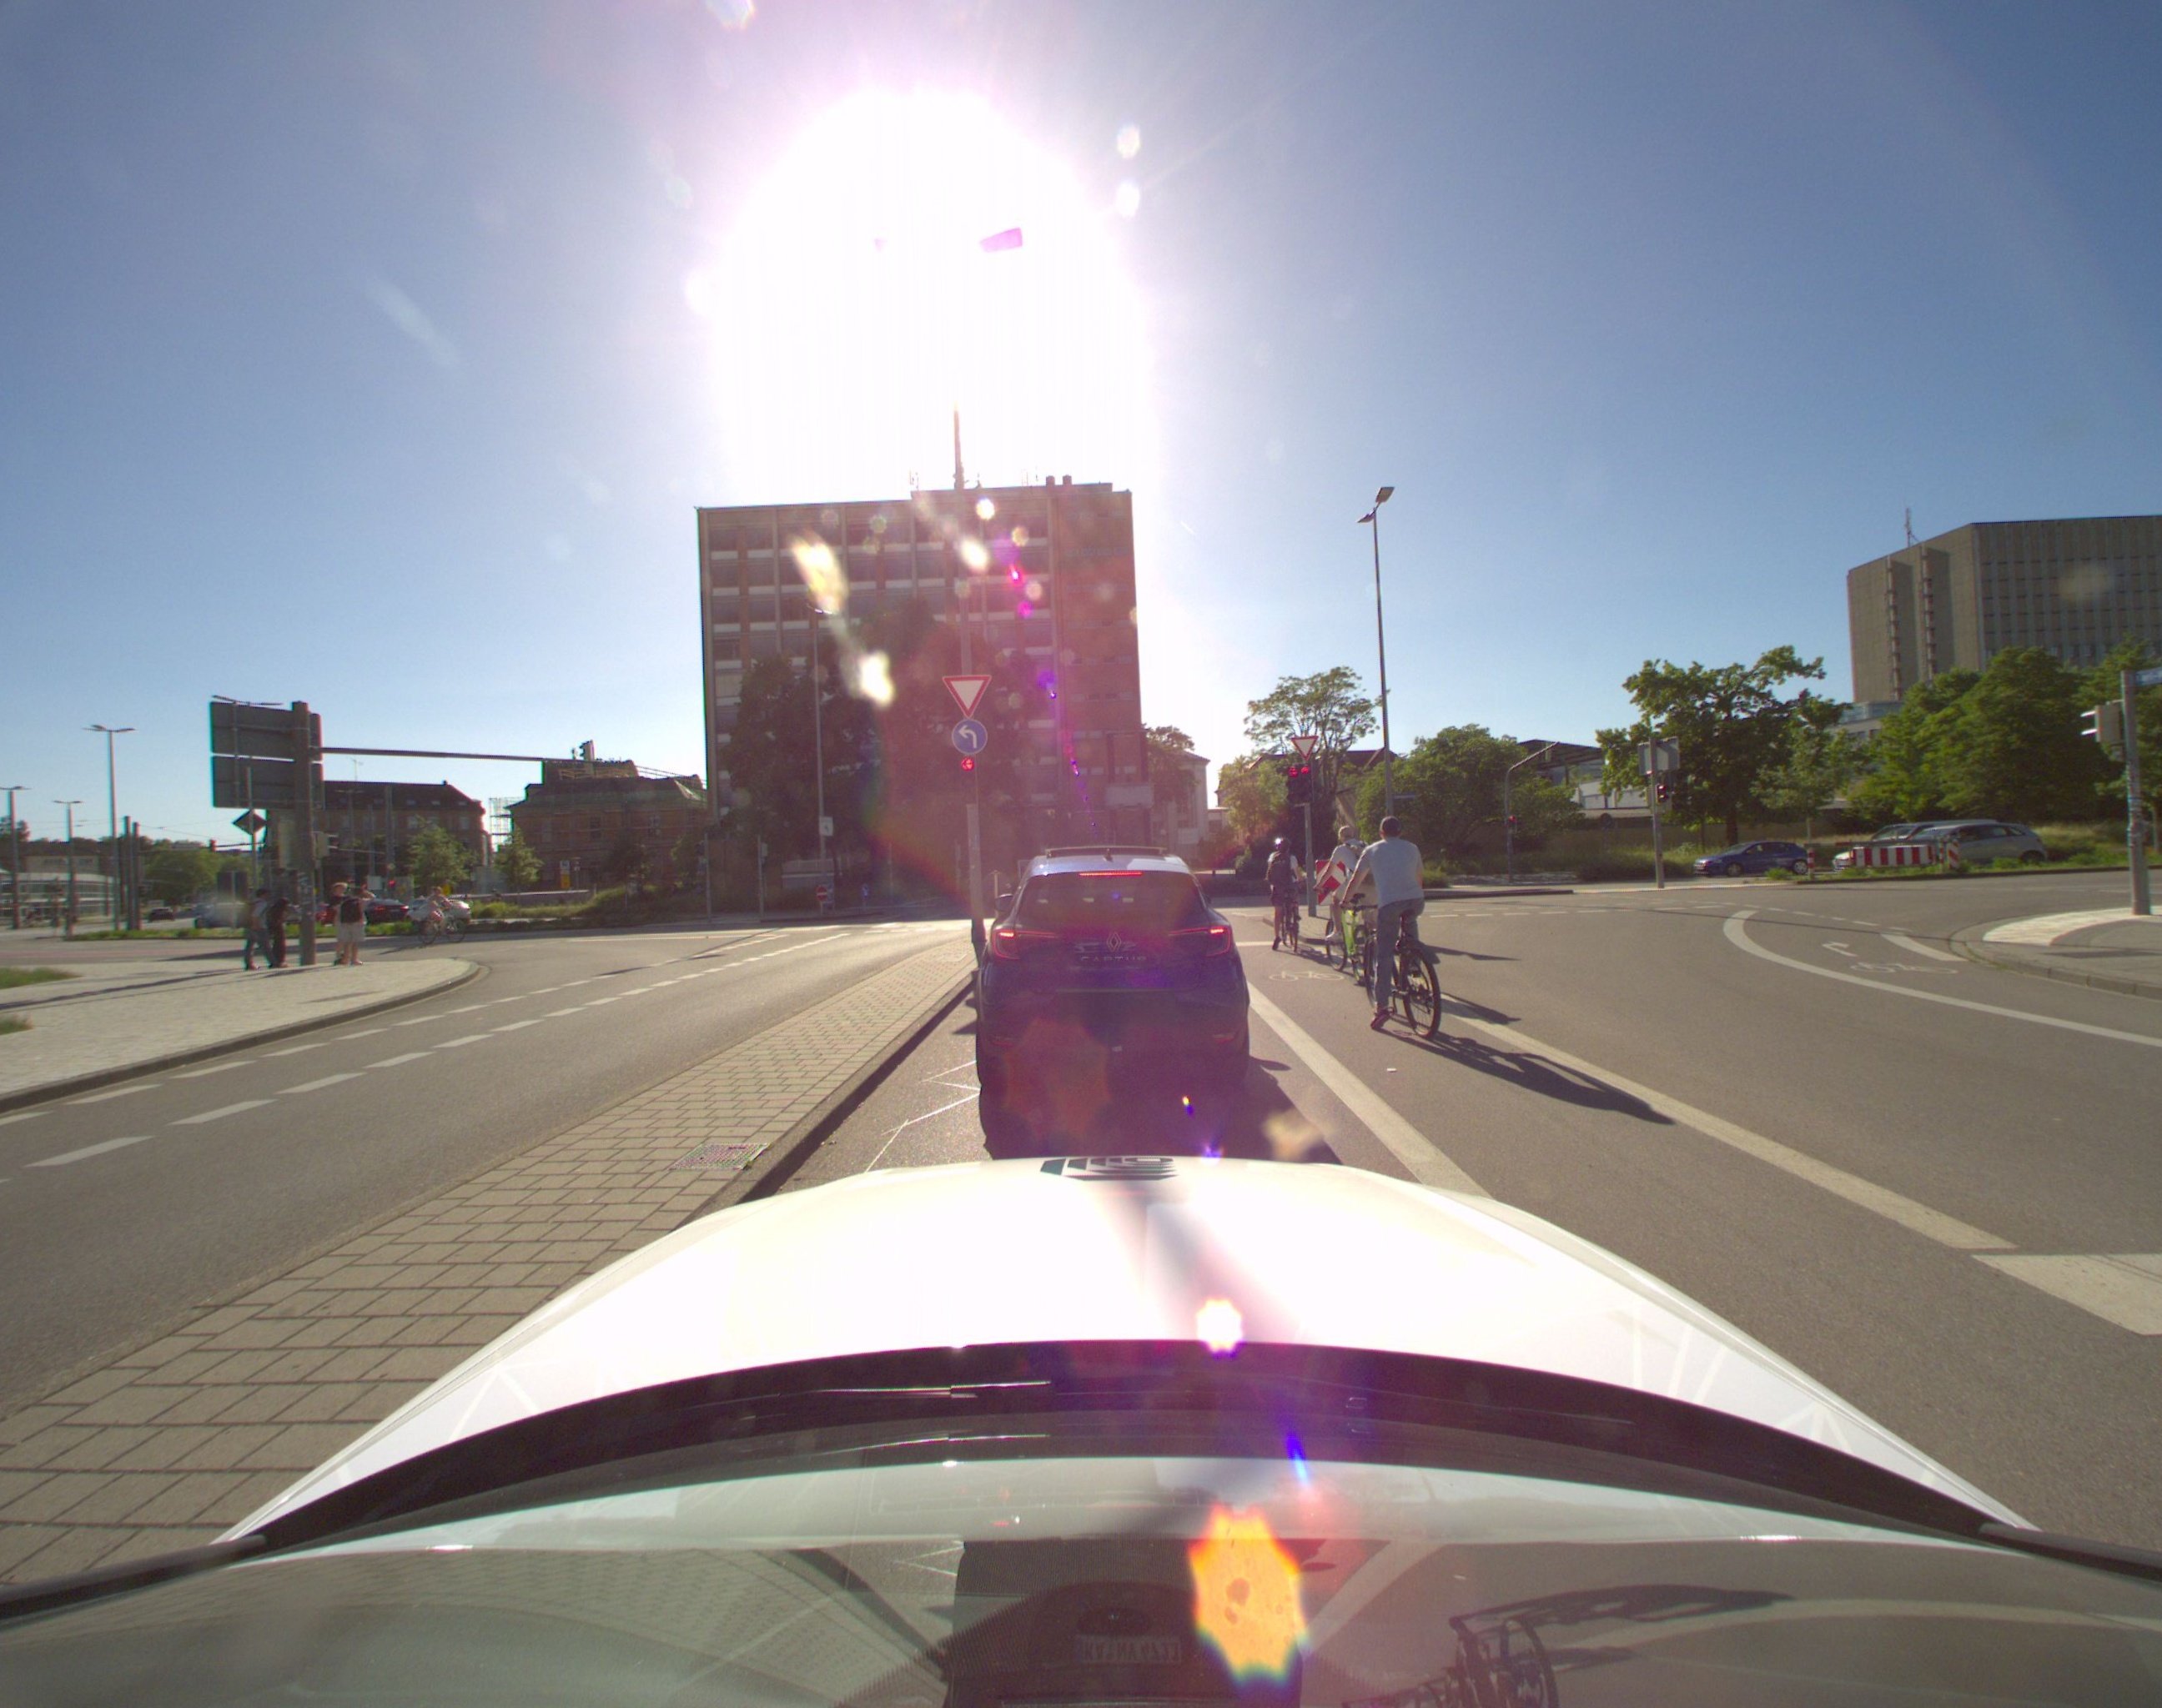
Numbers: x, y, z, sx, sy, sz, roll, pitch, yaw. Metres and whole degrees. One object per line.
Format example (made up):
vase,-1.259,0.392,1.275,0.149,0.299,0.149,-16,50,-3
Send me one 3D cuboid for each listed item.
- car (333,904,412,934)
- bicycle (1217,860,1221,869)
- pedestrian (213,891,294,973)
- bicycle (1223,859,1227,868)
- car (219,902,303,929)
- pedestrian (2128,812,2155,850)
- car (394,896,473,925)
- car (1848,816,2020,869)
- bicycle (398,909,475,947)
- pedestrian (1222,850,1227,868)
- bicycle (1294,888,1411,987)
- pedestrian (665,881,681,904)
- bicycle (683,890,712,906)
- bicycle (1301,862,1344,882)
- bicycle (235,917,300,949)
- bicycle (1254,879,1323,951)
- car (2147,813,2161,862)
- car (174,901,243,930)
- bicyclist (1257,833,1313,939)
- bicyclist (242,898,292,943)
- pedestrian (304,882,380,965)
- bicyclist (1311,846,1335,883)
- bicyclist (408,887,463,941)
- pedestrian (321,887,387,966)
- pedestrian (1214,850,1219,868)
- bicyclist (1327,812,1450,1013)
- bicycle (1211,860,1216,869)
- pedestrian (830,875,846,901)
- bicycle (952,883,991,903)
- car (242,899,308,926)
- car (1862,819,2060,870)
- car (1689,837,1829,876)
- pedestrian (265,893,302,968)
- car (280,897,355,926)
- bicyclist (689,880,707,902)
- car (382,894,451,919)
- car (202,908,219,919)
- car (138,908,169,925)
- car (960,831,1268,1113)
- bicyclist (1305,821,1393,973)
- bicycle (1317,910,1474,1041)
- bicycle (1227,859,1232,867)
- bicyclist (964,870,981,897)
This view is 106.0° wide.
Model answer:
car,-42.558,3.911,48.910,4.334,1.632,1.854,-3,-1,23
bicycle,15.882,1.216,93.834,0.403,0.973,1.686,0,-1,6
pedestrian,-18.252,1.706,17.980,0.900,1.690,0.839,-4,-3,-3
bicycle,16.660,1.069,94.184,0.403,0.973,1.686,0,-1,6
car,-49.009,3.669,48.676,4.841,1.388,1.854,-3,-1,23
pedestrian,51.513,-1.121,39.551,0.558,1.778,0.528,-2,0,6
car,-36.433,3.175,45.842,3.803,1.435,1.752,-2,-1,21
car,35.256,-0.442,33.771,4.856,2.107,2.002,0,-1,4
bicycle,-19.254,2.208,24.328,1.969,0.995,0.744,-4,-1,16
pedestrian,16.221,0.595,92.194,0.473,2.014,0.469,-2,-1,8
bicycle,3.217,0.953,9.864,0.657,1.003,1.967,0,-1,-4
pedestrian,-28.614,2.702,57.102,0.852,1.571,0.562,-3,-1,23
bicycle,-25.655,2.949,54.516,2.057,0.964,0.602,-3,-1,27
bicycle,12.583,0.935,42.437,2.067,0.930,0.698,-3,1,12
bicycle,-27.283,2.651,27.313,1.968,0.918,0.690,-5,-1,18
bicycle,3.251,0.925,12.946,0.735,0.995,2.177,0,-1,6
car,36.990,-0.624,25.359,4.713,1.584,2.002,-2,-1,3
car,-55.156,3.897,51.487,4.331,1.632,1.855,-3,-1,27
bicyclist,3.241,0.498,12.999,0.722,1.629,0.970,0,-1,6
bicyclist,-27.313,2.225,27.327,1.115,1.422,0.690,-4,-1,17
pedestrian,-16.989,1.576,18.743,0.696,1.800,1.110,-6,-3,32
bicyclist,12.622,0.550,42.467,1.094,1.867,0.655,-2,-1,12
bicyclist,-19.279,1.772,24.343,1.061,1.500,0.744,-4,-1,15
pedestrian,-16.374,1.619,18.348,0.785,1.690,0.793,-6,-3,20
pedestrian,15.108,0.592,90.869,0.473,2.014,0.524,-2,-1,8
bicyclist,2.716,0.491,7.307,0.748,1.668,1.017,0,-1,3
bicycle,15.264,1.221,93.892,0.403,0.973,1.686,0,-1,6
pedestrian,-15.378,2.152,51.518,0.731,1.603,0.601,-3,-1,18
bicycle,-5.923,2.107,44.039,2.016,0.964,0.593,-2,-1,-25
car,-53.811,3.911,54.390,4.331,1.632,1.855,-3,-1,27
car,28.146,-0.298,26.176,4.025,1.408,1.872,-2,-1,8
car,28.221,0.099,34.019,4.140,1.435,1.747,-2,-1,8
pedestrian,-19.138,1.807,19.547,0.600,1.729,0.572,-2,-1,-45
car,-48.454,3.675,51.663,4.334,1.632,1.854,-3,-1,23
bicyclist,-25.672,2.466,54.522,0.928,1.429,0.602,-3,-1,27
car,-47.382,3.748,58.076,4.779,1.632,1.855,-2,-1,25
car,-174.738,11.968,163.523,3.948,2.013,2.013,-3,-1,38
car,-99.396,6.666,87.247,4.330,1.632,1.856,-3,-1,37
car,0.206,0.706,6.815,1.798,1.632,3.999,-1,0,0
bicyclist,3.218,0.492,9.862,0.644,1.739,1.065,0,-1,-4
bicycle,2.723,1.012,7.308,0.737,0.896,1.980,0,-1,3
bicycle,17.195,1.066,94.184,0.403,0.973,1.686,0,-1,6
bicyclist,-5.885,1.591,44.066,0.741,1.441,0.593,-2,-1,-25
